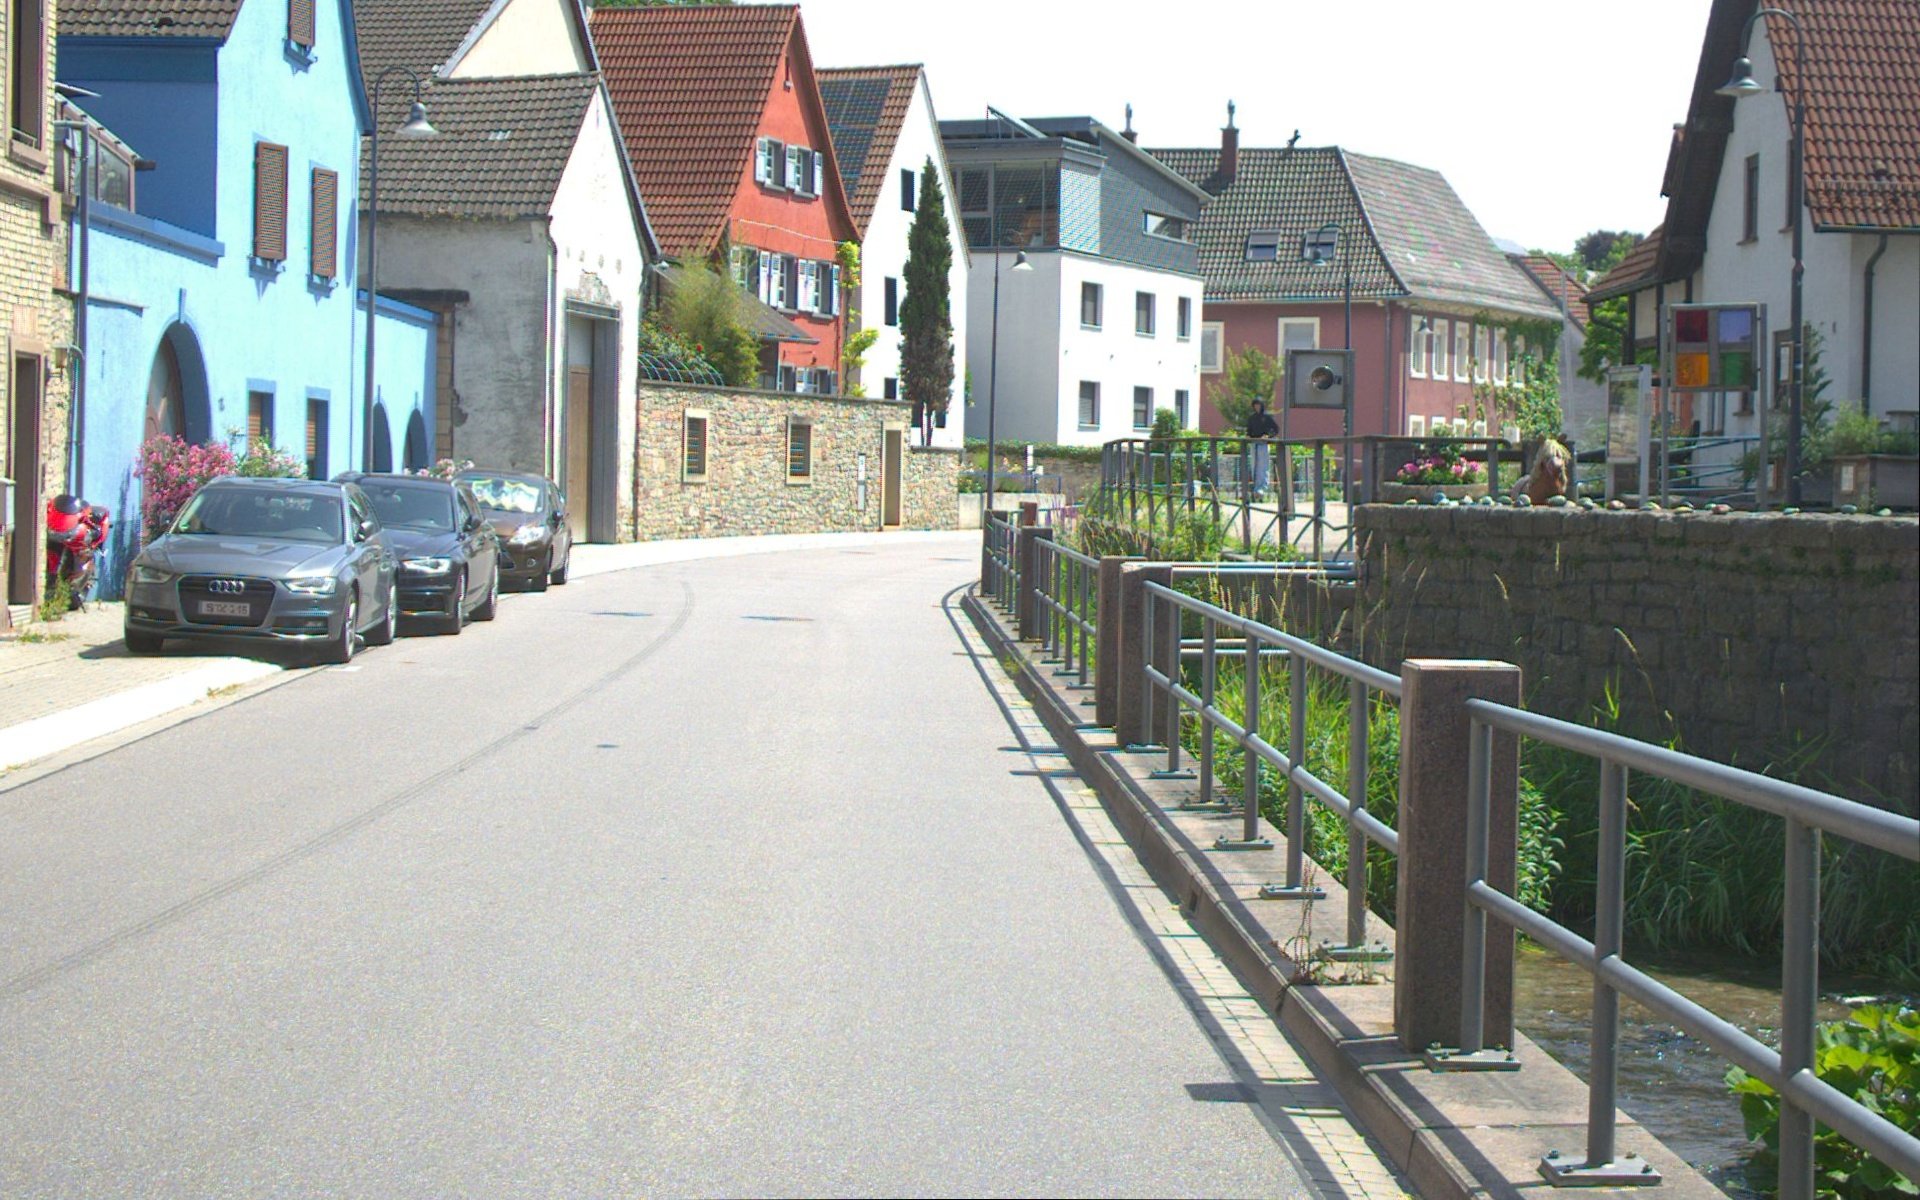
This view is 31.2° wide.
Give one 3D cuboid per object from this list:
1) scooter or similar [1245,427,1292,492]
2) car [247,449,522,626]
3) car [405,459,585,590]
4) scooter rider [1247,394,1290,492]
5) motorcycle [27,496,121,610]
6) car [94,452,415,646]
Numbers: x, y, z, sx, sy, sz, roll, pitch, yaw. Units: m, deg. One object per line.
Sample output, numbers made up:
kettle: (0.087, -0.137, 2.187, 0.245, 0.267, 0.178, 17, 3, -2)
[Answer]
scooter or similar: (5.500, -2.505, 61.451, 0.641, 1.138, 1.812, 0, 2, -1)
car: (-5.622, -0.679, 34.127, 1.885, 1.459, 4.669, 4, 3, -1)
car: (-5.941, -1.010, 44.340, 1.717, 1.524, 3.857, 0, 3, 1)
scooter rider: (5.525, -2.805, 61.556, 0.641, 1.725, 0.554, 2, 2, -1)
motorcycle: (-8.330, -0.457, 32.376, 0.417, 0.997, 1.859, 6, 2, -3)
car: (-5.882, -0.465, 29.194, 1.956, 1.460, 4.546, 2, 2, -3)
